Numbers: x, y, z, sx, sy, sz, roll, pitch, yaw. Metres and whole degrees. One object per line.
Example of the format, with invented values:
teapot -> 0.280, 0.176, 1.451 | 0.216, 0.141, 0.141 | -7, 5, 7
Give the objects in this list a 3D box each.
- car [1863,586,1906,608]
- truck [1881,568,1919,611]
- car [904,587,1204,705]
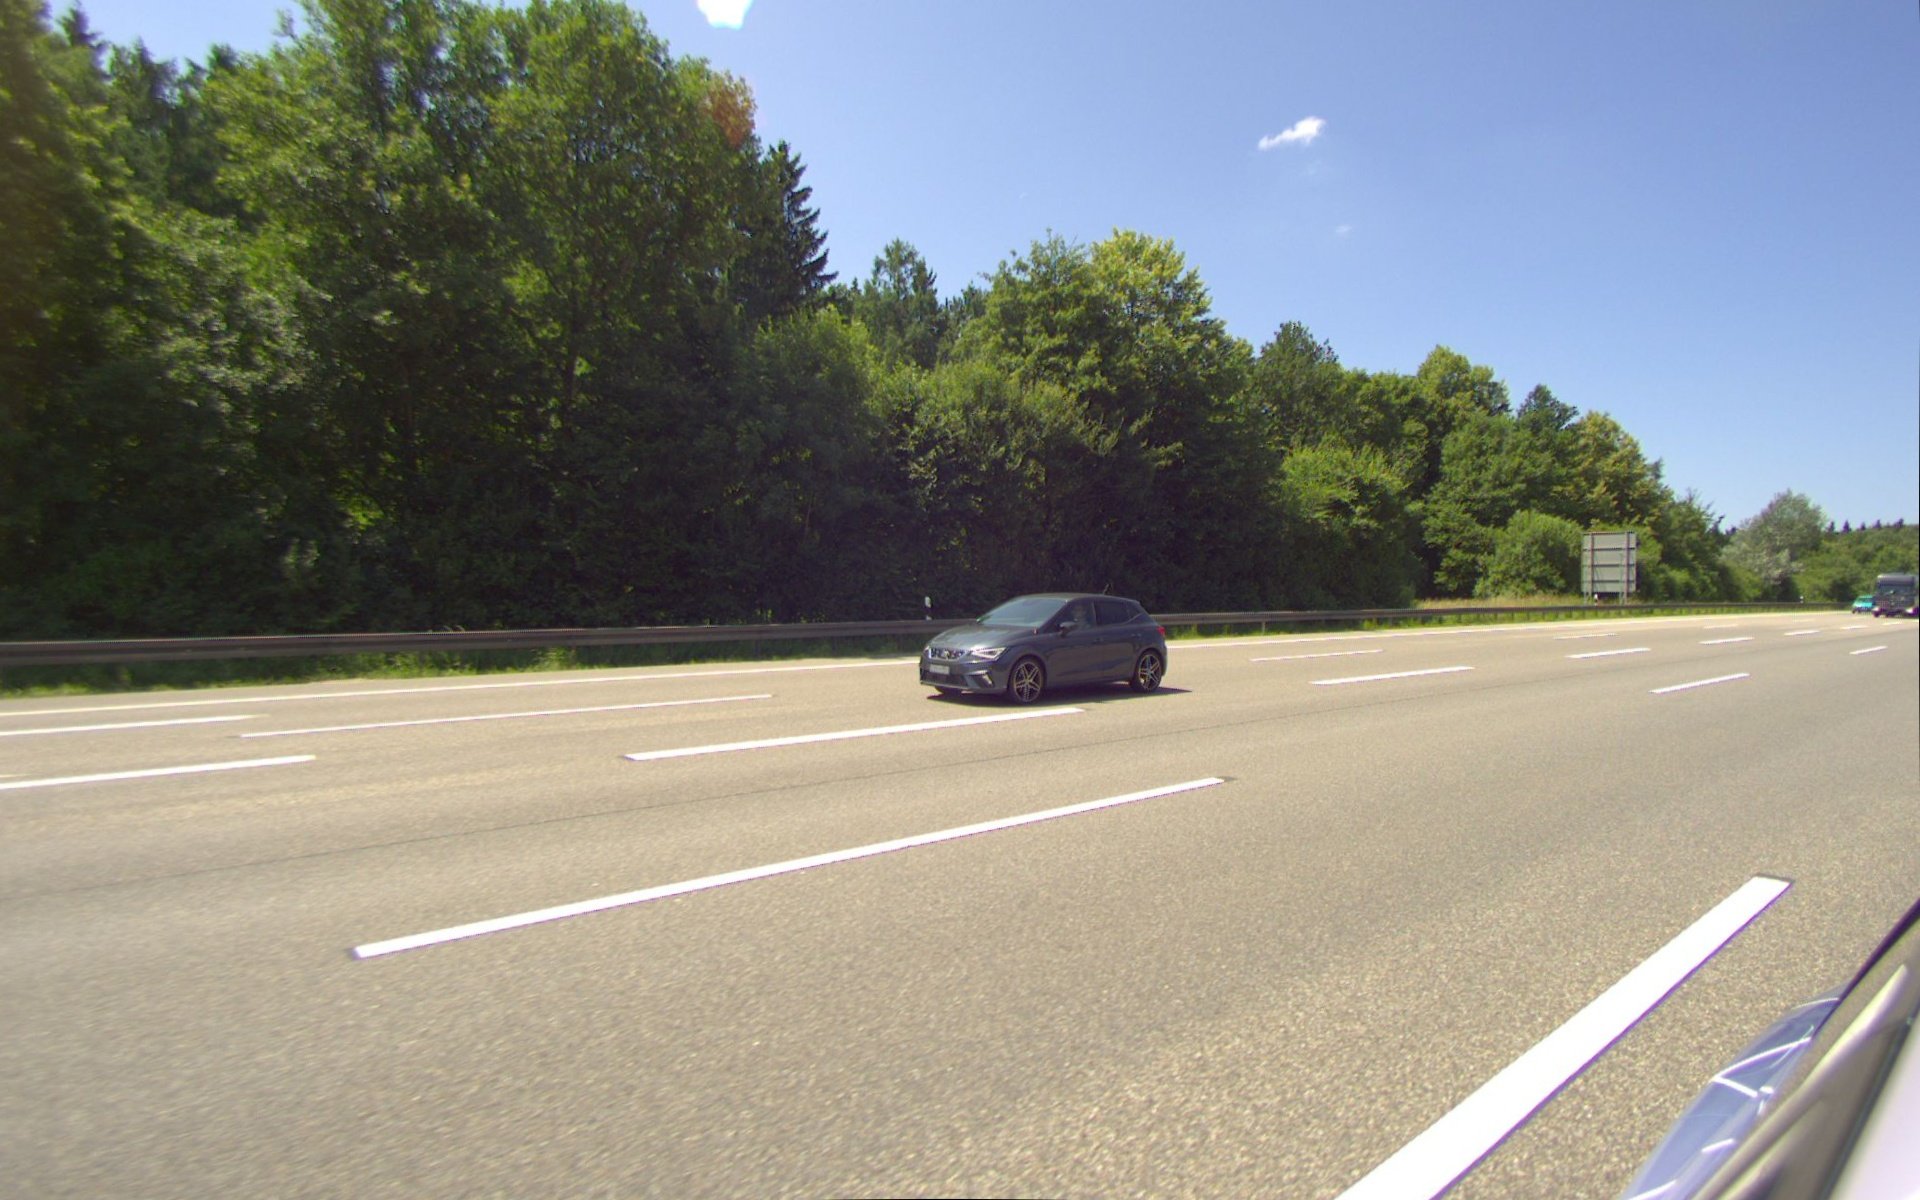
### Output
car -> 74.976, -0.253, 82.095 | 4.053, 1.701, 1.998 | 0, 1, -39
truck -> 67.942, -0.757, 71.523 | 10.689, 2.892, 2.660 | 0, 1, -39
car -> 1.485, 0.543, 14.624 | 4.554, 1.456, 1.646 | -1, 1, -41
